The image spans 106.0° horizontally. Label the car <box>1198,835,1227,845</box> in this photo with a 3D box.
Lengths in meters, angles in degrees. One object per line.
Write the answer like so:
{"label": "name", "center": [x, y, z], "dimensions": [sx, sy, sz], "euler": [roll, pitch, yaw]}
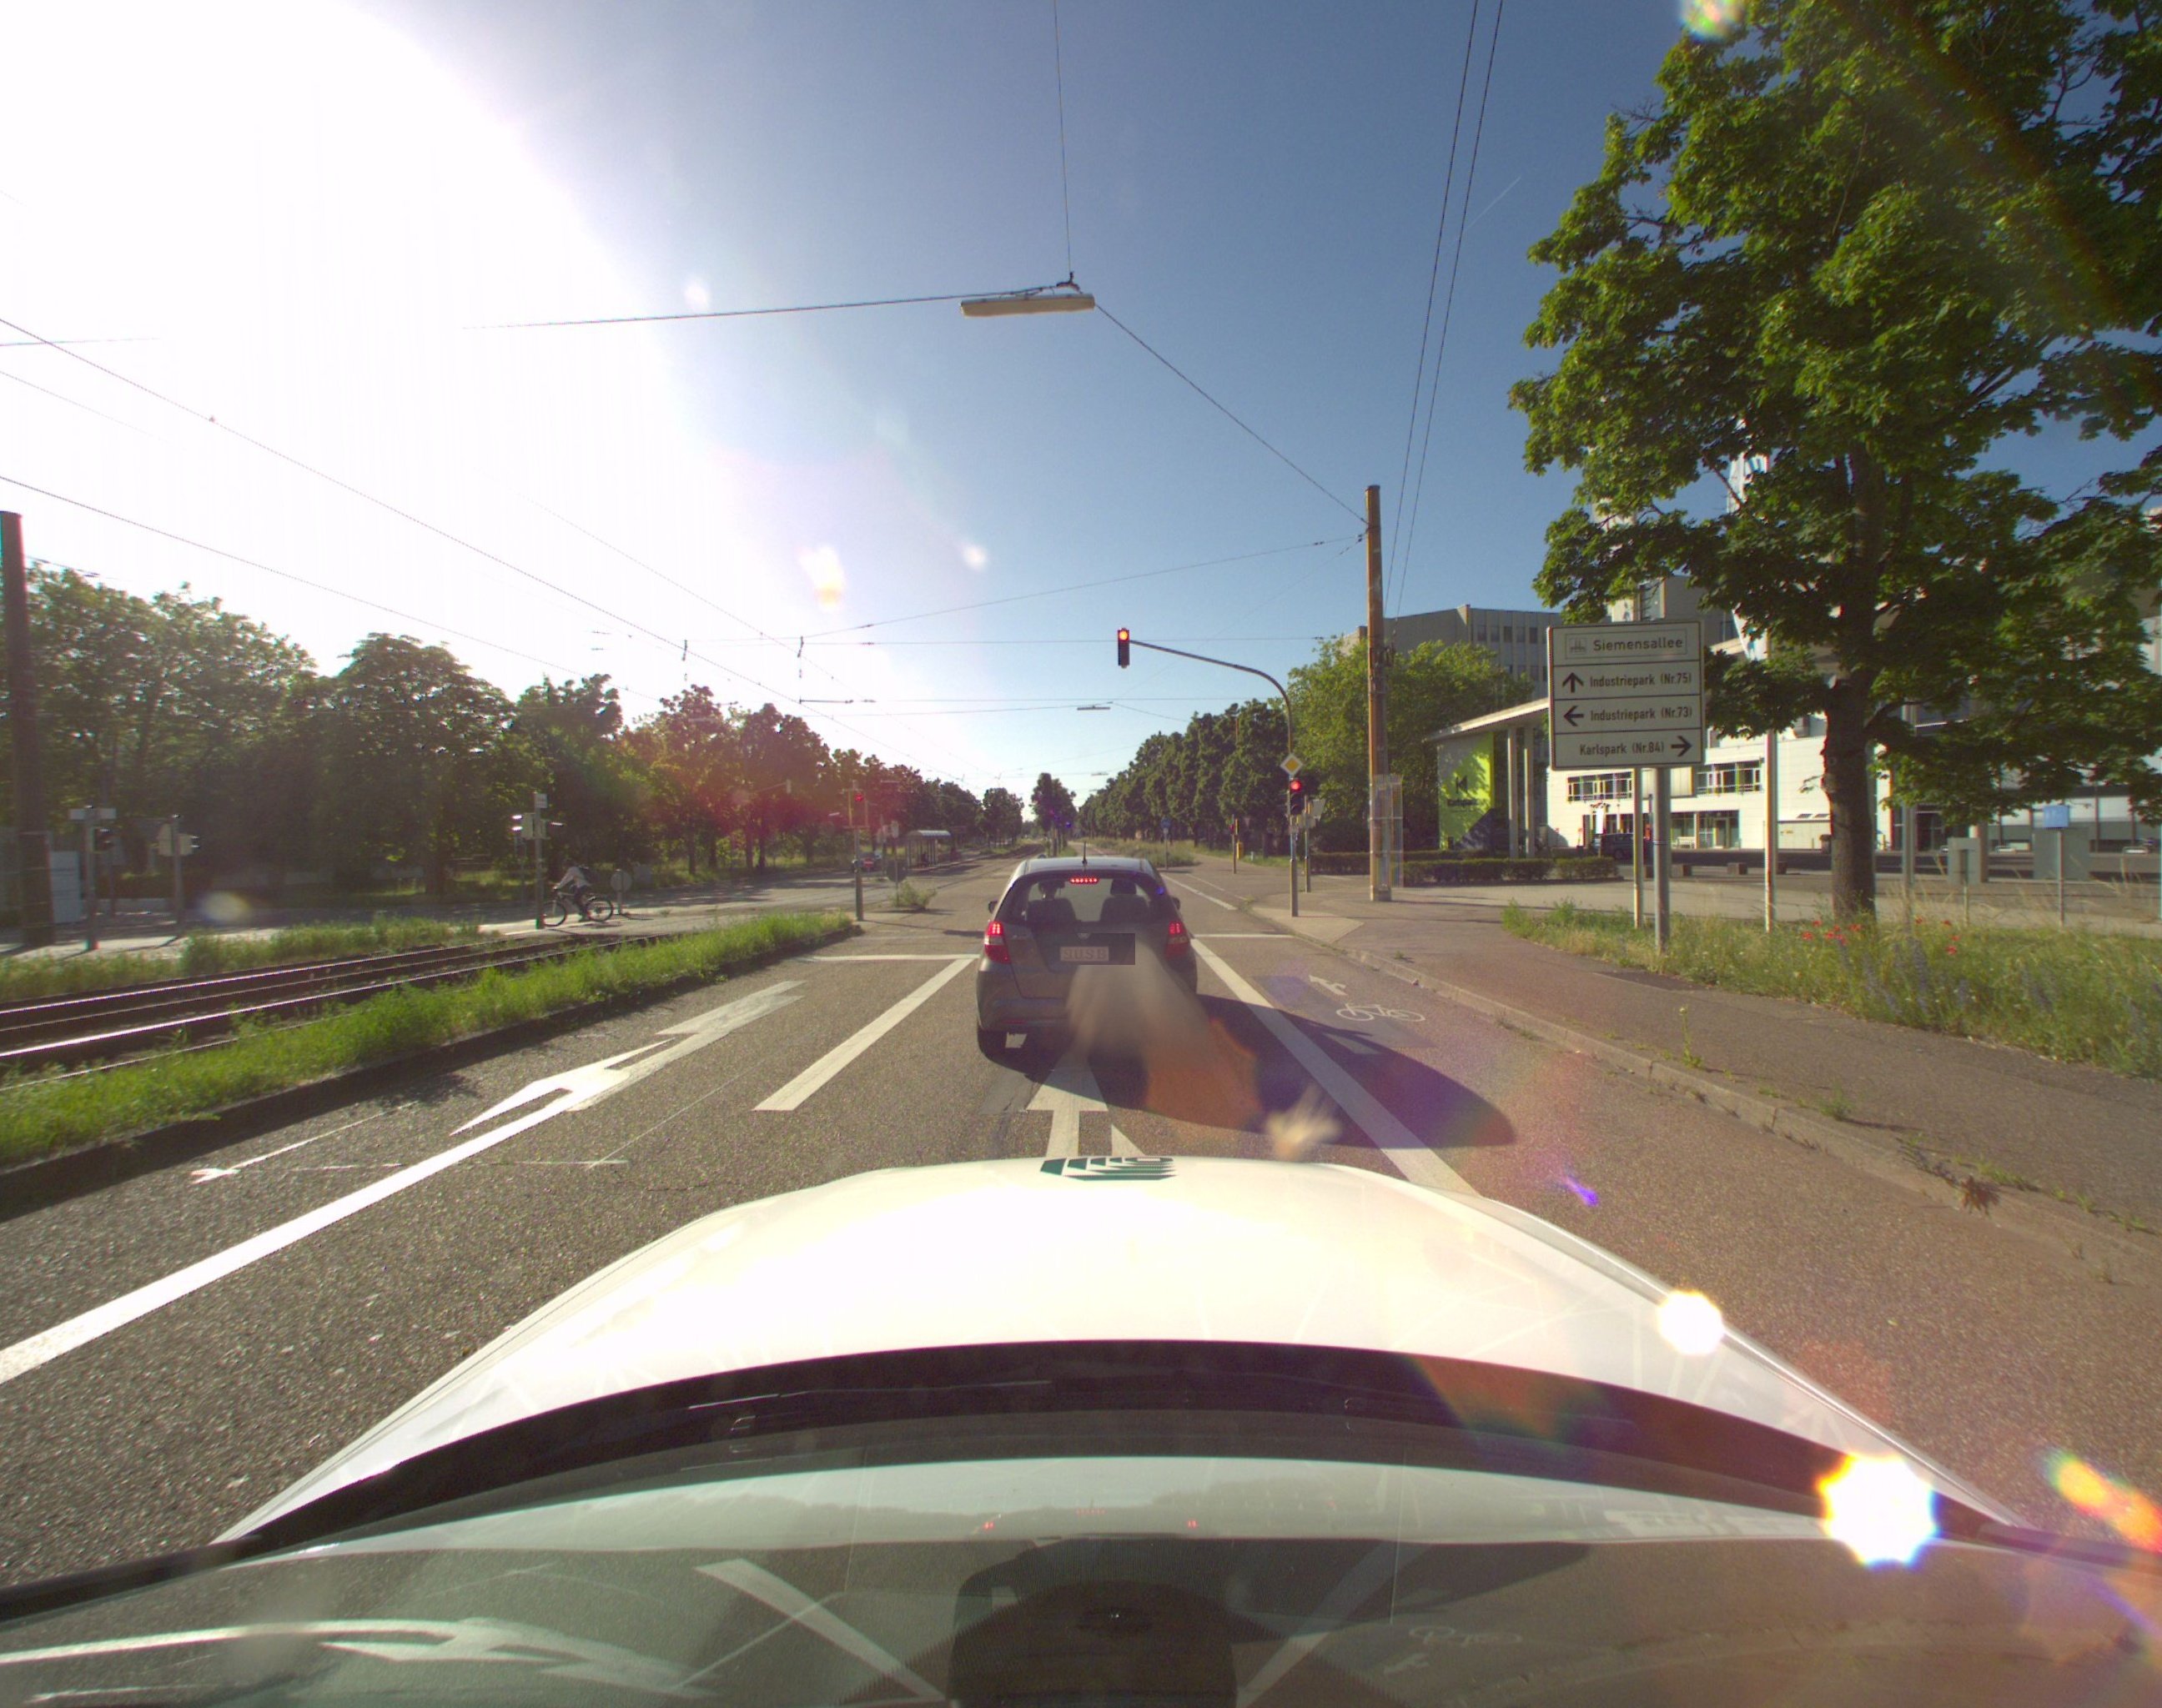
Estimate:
{"label": "car", "center": [23.312, -2.523, 144.259], "dimensions": [4.623, 1.555, 1.997], "euler": [-2, 1, -5]}

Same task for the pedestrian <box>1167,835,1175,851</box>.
{"label": "pedestrian", "center": [10.855, -1.358, 98.164], "dimensions": [0.880, 1.884, 0.875], "euler": [-2, 1, -2]}

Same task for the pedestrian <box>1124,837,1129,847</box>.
{"label": "pedestrian", "center": [7.988, -2.079, 142.808], "dimensions": [0.723, 1.690, 0.820], "euler": [-1, -1, -1]}

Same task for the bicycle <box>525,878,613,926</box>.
{"label": "bicycle", "center": [-12.930, 1.205, 20.632], "dimensions": [1.784, 1.102, 0.693], "euler": [-1, 0, -24]}

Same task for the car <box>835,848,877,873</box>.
{"label": "car", "center": [-18.635, 0.476, 67.670], "dimensions": [2.087, 1.810, 4.792], "euler": [-4, 1, 0]}

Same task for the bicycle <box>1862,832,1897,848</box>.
{"label": "bicycle", "center": [52.222, -0.911, 53.273], "dimensions": [0.565, 1.004, 1.614], "euler": [-2, 1, -13]}

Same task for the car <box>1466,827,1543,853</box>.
{"label": "car", "center": [31.056, -1.005, 59.787], "dimensions": [4.888, 1.757, 2.082], "euler": [-2, 1, -14]}

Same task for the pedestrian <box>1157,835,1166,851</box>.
{"label": "pedestrian", "center": [9.660, -1.342, 98.139], "dimensions": [0.880, 1.884, 0.875], "euler": [-2, 1, -2]}

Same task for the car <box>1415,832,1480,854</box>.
{"label": "car", "center": [29.988, -0.917, 66.678], "dimensions": [4.448, 1.686, 1.892], "euler": [-2, 1, -4]}

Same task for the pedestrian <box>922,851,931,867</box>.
{"label": "pedestrian", "center": [-12.501, 0.419, 65.993], "dimensions": [0.562, 1.257, 0.581], "euler": [-4, 0, 1]}

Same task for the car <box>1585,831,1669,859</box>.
{"label": "car", "center": [33.275, -0.567, 49.658], "dimensions": [3.984, 1.578, 1.949], "euler": [-1, 0, -8]}

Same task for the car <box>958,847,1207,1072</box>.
{"label": "car", "center": [0.065, 0.730, 7.463], "dimensions": [1.694, 1.524, 3.711], "euler": [-1, 0, 2]}

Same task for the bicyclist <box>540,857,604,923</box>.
{"label": "bicyclist", "center": [-12.882, 0.891, 20.645], "dimensions": [1.238, 1.593, 0.798], "euler": [-1, 0, -24]}

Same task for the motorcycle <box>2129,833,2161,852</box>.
{"label": "motorcycle", "center": [54.622, -0.604, 41.289], "dimensions": [0.652, 0.947, 1.727], "euler": [-2, 1, -13]}

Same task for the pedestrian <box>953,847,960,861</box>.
{"label": "pedestrian", "center": [-12.333, -0.006, 80.561], "dimensions": [0.542, 1.447, 0.559], "euler": [-2, 0, 1]}

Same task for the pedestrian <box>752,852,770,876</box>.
{"label": "pedestrian", "center": [-24.210, 0.770, 61.693], "dimensions": [0.751, 1.734, 0.943], "euler": [-1, 1, 30]}
